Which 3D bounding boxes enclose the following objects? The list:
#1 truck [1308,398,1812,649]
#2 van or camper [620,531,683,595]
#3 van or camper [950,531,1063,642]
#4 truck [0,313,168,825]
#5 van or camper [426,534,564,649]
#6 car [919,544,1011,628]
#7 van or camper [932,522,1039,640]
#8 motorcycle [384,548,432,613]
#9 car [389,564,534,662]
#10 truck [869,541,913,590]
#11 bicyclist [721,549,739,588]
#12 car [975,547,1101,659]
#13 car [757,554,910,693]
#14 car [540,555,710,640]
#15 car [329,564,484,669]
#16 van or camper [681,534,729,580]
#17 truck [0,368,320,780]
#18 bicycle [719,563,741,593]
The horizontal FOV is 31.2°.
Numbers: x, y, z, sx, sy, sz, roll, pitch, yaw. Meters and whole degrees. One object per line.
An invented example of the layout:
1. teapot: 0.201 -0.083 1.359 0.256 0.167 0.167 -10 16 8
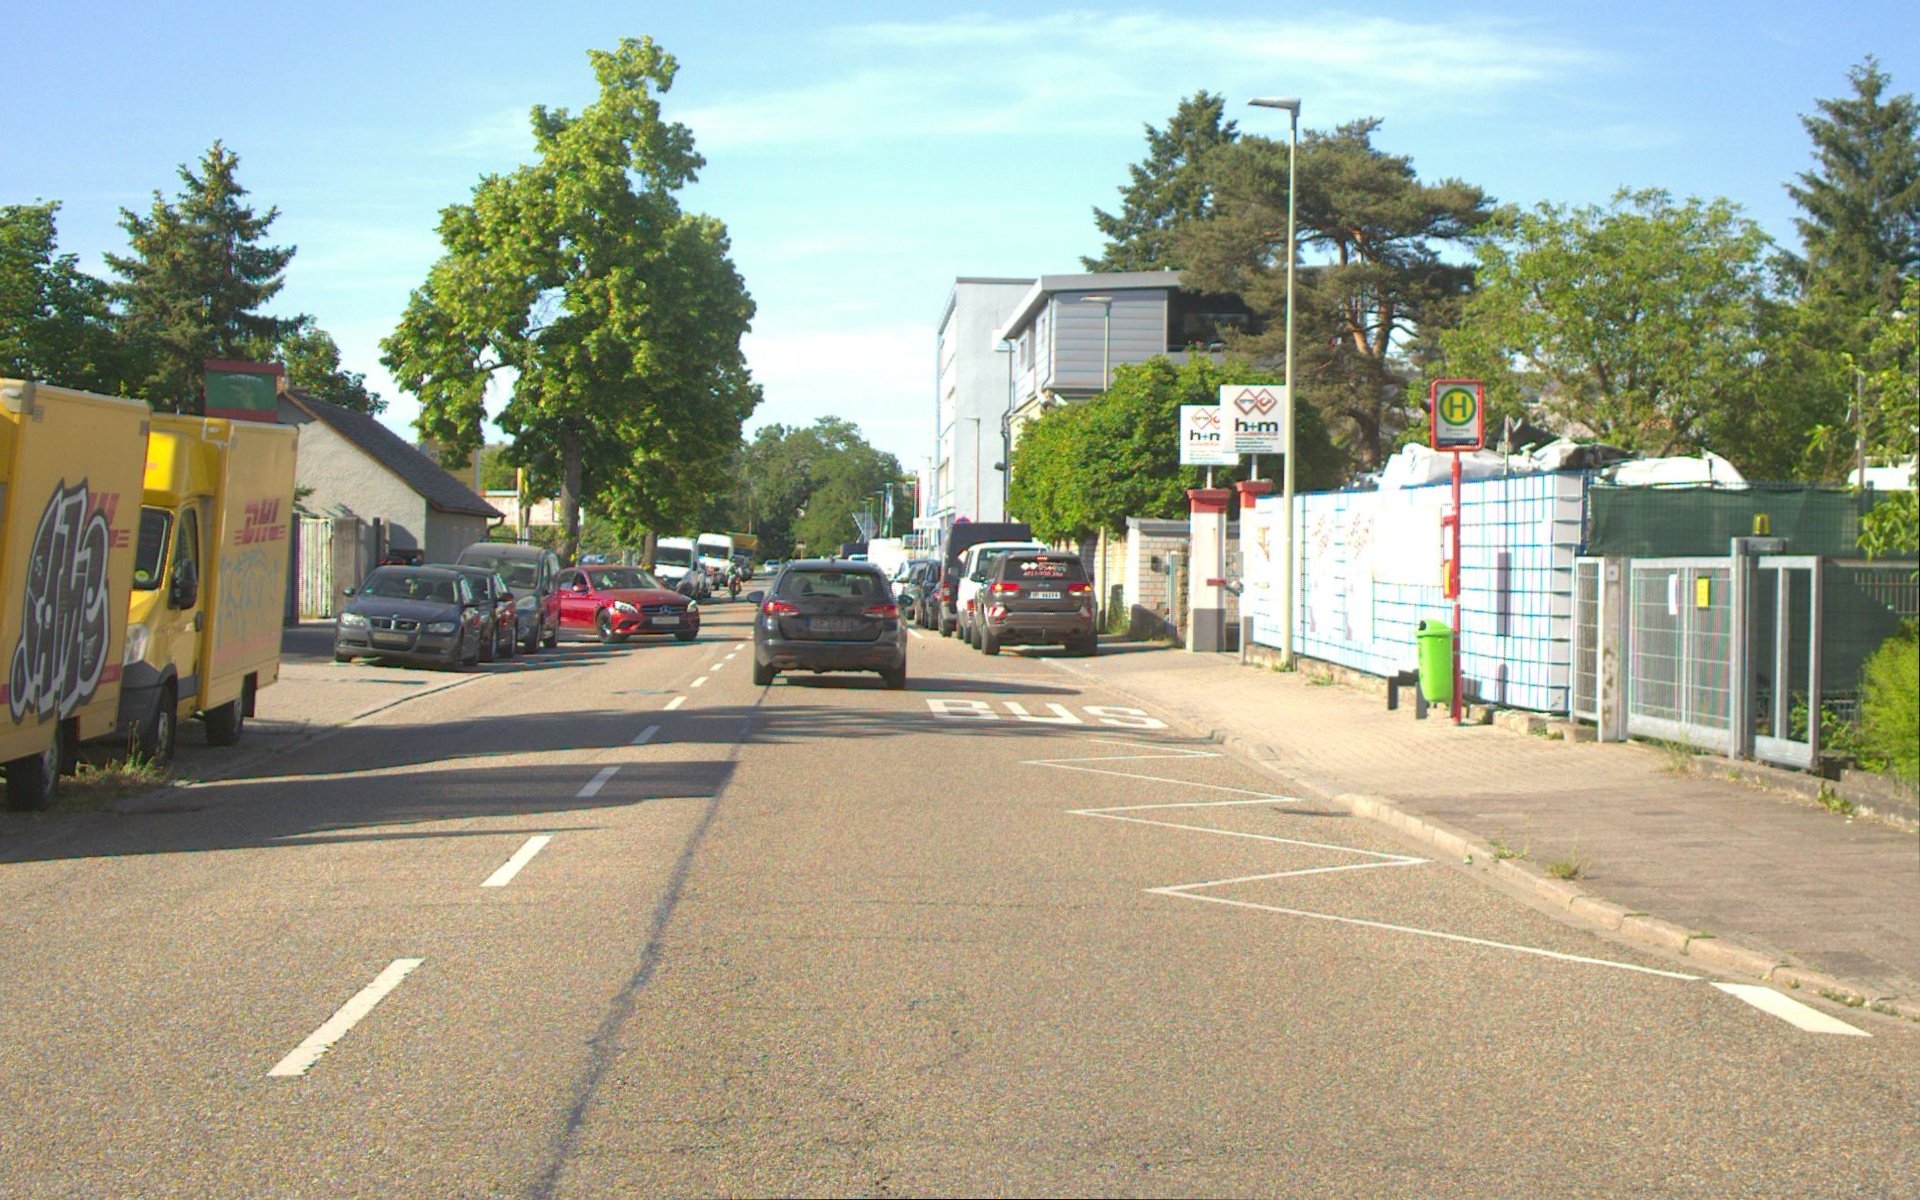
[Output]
1. truck: 9.516 -1.196 54.995 7.372 3.758 2.834 1 1 -6
2. van or camper: -11.863 -1.424 131.889 2.323 2.354 6.530 1 1 -6
3. van or camper: 0.854 -0.270 65.301 1.919 2.012 4.080 1 1 -2
4. truck: -6.809 -0.232 21.254 2.402 2.973 6.374 3 1 -2
5. van or camper: -8.048 -0.149 59.846 1.890 1.919 4.266 0 0 -1
6. car: 0.088 -0.329 78.084 1.919 1.819 4.080 1 1 -2
7. van or camper: 0.486 -0.403 70.355 1.993 2.302 4.000 1 1 -2
8. motorcycle: -12.401 -0.447 77.282 0.777 1.440 2.038 1 1 -2
9. car: -7.969 0.183 55.265 1.694 1.464 4.174 1 1 0
10. truck: -3.310 -1.659 164.621 1.993 2.280 6.956 1 1 -2
11. bicyclist: -9.055 -1.251 135.413 0.695 1.534 0.635 1 1 -4
12. car: 1.299 0.016 58.968 1.919 1.819 4.080 1 1 -2
13. car: -1.448 0.238 40.482 1.711 1.527 3.688 1 1 -1
14. car: -6.314 -0.072 64.475 1.875 1.480 4.045 -1 2 -26
15. car: -7.958 0.210 49.759 1.756 1.398 4.558 1 1 -4
16. van or camper: -13.480 -2.262 181.227 2.323 2.354 6.530 1 1 -6
17. truck: -6.914 -0.260 27.891 2.192 2.892 6.439 3 1 -1
18. bicycle: -9.062 -0.881 135.551 0.829 1.149 2.941 1 1 -3
